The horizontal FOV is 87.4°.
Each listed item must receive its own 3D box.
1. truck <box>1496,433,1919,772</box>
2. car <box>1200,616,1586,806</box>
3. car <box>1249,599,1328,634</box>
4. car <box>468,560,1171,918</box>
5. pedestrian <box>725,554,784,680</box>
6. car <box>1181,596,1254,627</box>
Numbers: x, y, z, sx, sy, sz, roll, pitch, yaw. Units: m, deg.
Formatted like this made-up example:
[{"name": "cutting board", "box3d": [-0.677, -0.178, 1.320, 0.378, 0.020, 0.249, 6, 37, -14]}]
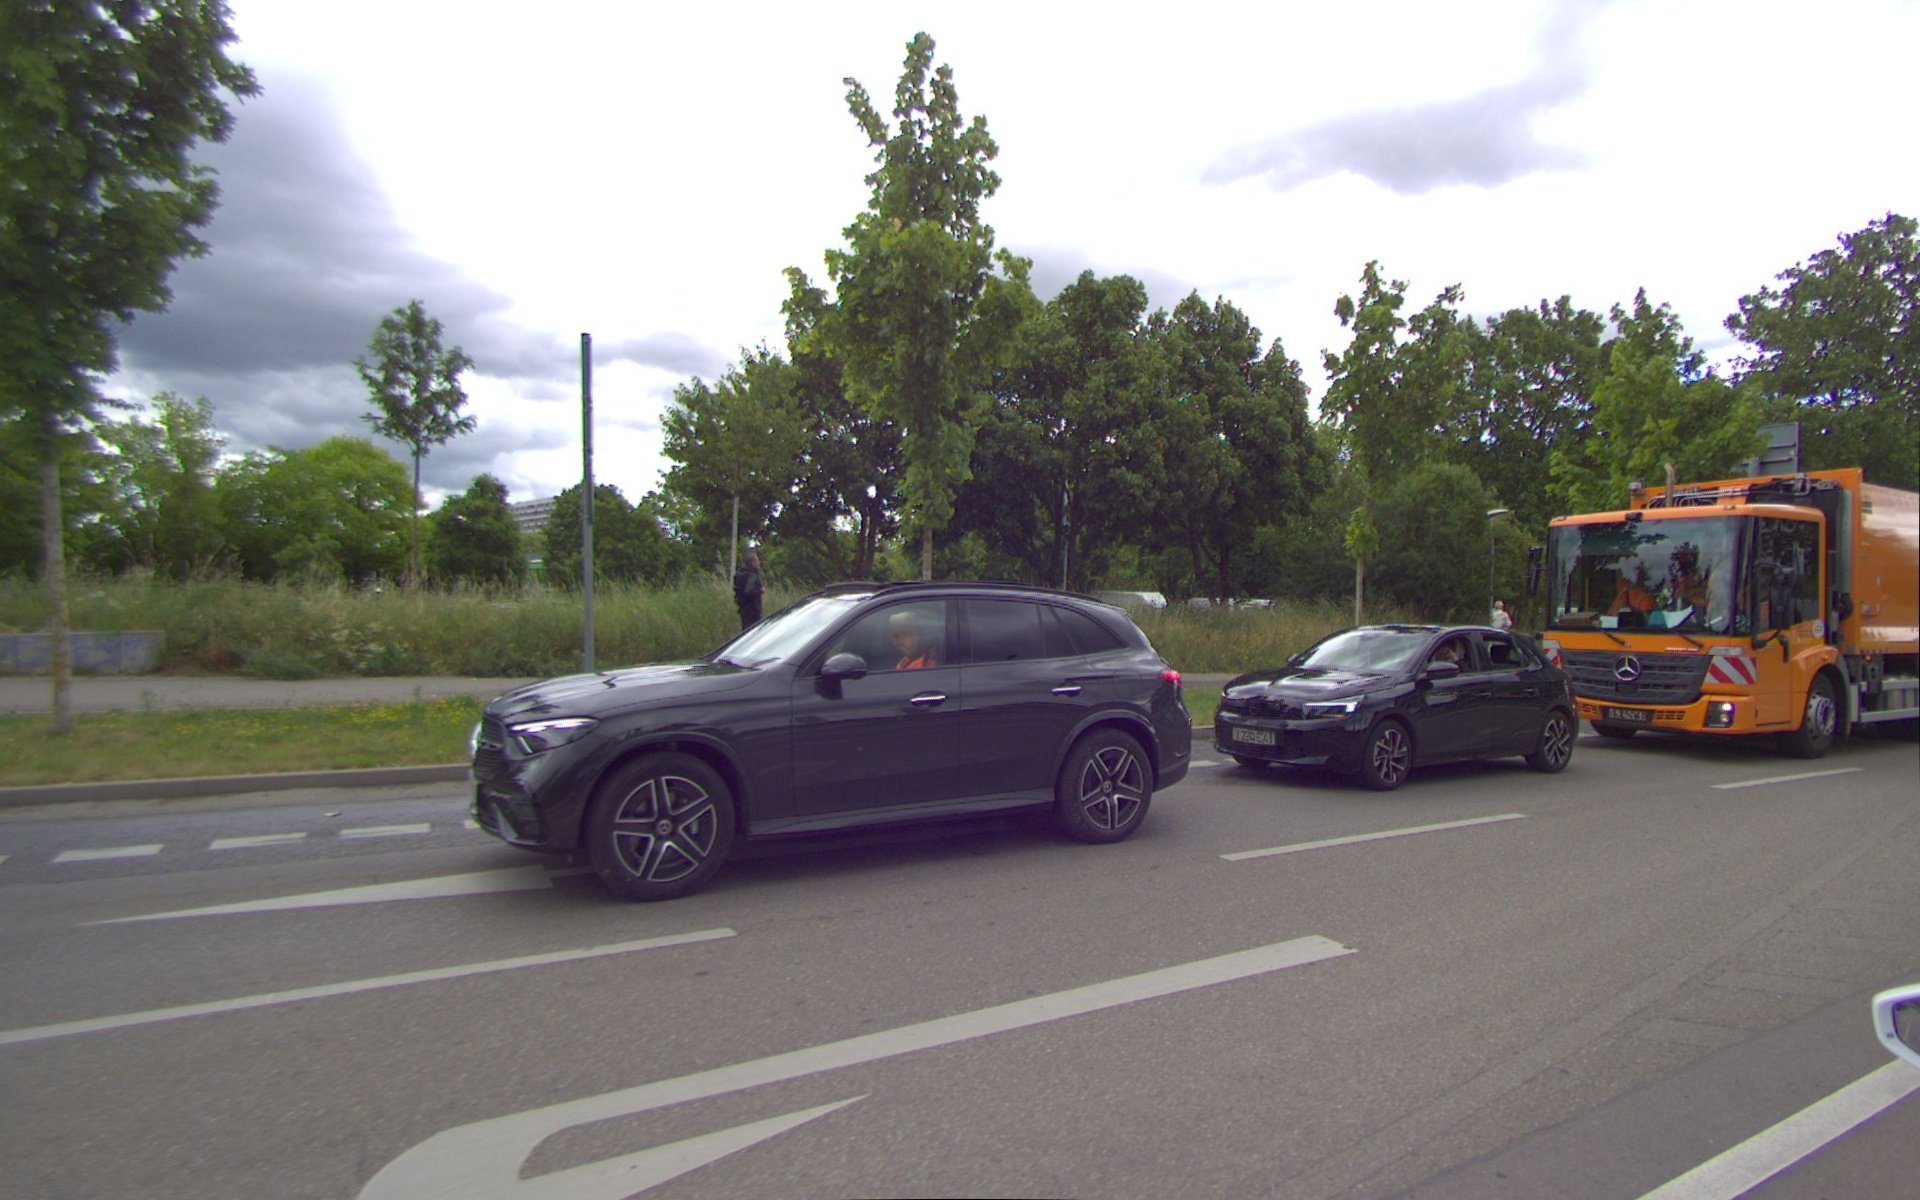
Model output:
[{"name": "truck", "box3d": [11.802, 0.071, 14.140, 9.877, 3.534, 2.692, 1, 1, -30]}, {"name": "car", "box3d": [4.235, 0.927, 9.659, 3.850, 1.477, 1.426, 1, 1, -31]}, {"name": "car", "box3d": [22.322, 1.080, 68.353, 1.979, 2.220, 4.935, 1, 0, -34]}, {"name": "car", "box3d": [-0.762, 0.637, 6.248, 4.014, 1.607, 1.631, 1, 1, -31]}, {"name": "pedestrian", "box3d": [-3.139, 0.254, 15.308, 0.669, 1.860, 0.717, 1, 1, -30]}, {"name": "car", "box3d": [17.990, 0.816, 70.477, 1.978, 2.040, 4.938, 1, 0, -32]}]
